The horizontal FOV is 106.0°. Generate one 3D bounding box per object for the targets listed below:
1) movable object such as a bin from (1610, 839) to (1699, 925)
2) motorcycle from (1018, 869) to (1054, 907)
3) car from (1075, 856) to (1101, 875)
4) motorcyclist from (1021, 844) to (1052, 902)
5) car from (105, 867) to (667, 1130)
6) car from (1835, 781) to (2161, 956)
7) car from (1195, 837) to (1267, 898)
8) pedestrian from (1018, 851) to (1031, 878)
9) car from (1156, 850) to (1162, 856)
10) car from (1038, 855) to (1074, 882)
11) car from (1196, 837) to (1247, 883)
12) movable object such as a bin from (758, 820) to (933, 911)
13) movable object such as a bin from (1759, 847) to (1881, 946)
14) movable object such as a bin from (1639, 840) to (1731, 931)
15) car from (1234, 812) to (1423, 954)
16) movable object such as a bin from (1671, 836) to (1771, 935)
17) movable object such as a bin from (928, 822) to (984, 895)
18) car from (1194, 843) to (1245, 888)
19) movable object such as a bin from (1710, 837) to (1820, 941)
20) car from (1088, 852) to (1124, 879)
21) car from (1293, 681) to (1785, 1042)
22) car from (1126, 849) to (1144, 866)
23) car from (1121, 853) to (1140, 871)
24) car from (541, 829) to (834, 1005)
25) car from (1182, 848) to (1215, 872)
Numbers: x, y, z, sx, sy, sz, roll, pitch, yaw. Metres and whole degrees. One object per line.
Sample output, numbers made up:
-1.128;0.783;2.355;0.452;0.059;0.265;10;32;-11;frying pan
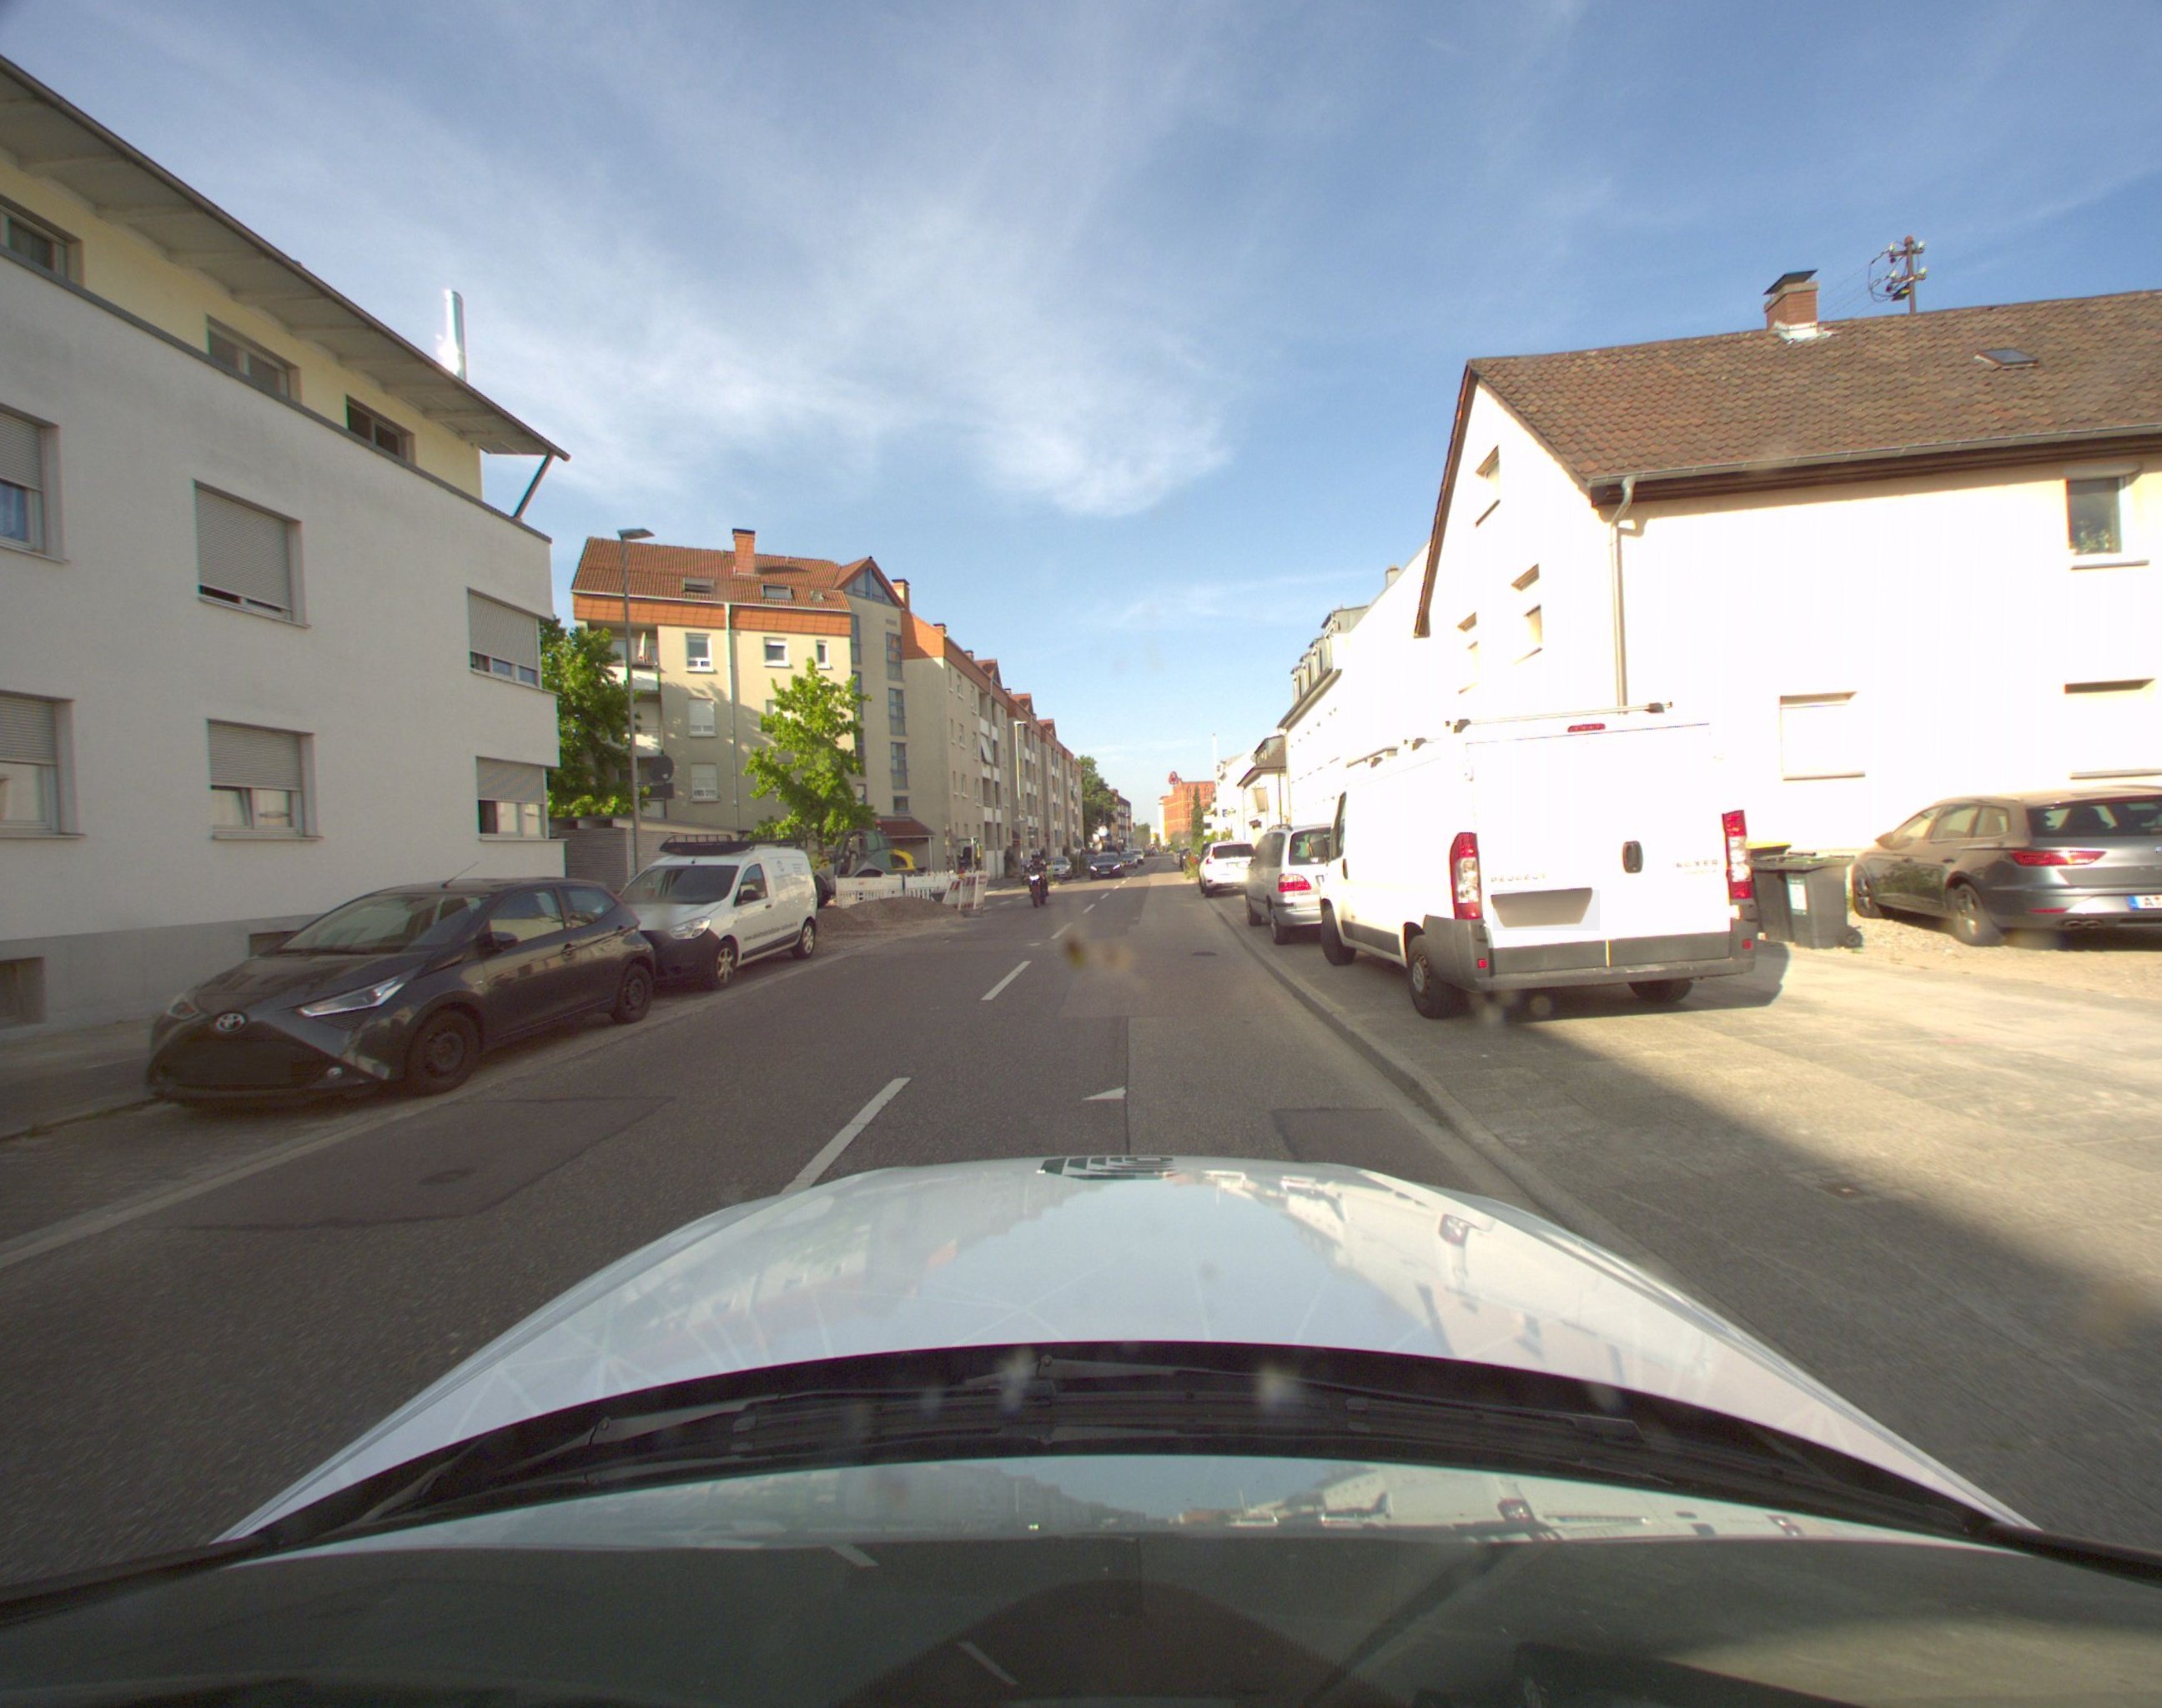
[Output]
7.702;0.368;10.965;0.725;1.093;0.626;-2;0;3;movable object such as a bin
-1.298;0.962;23.855;0.765;0.984;2.201;-2;0;3;motorcycle
0.600;0.915;66.265;1.678;1.405;4.090;-1;0;5;car
-1.292;0.533;23.928;0.765;1.652;0.844;-2;0;3;motorcyclist
-5.094;0.898;6.676;1.487;1.465;3.515;-2;0;1;car
9.566;0.049;8.377;1.640;1.407;4.004;-4;0;28;car
4.705;0.379;26.119;1.803;1.683;4.484;-4;0;6;car
-3.837;0.688;55.169;0.715;1.818;0.746;-2;0;6;pedestrian
23.415;-0.320;243.525;1.755;1.616;4.007;-3;0;6;car
-1.449;0.815;48.180;1.633;1.395;3.676;-3;0;4;car
6.352;0.230;37.239;2.064;1.856;4.621;-4;0;8;car
-7.968;0.343;28.146;5.496;2.900;2.105;-1;1;-10;movable object such as a bin
7.605;0.424;8.400;0.725;0.959;0.554;-2;0;3;movable object such as a bin
7.667;0.390;10.354;0.725;1.093;0.554;-2;0;3;movable object such as a bin
3.650;0.354;12.868;1.770;1.741;4.487;-4;0;3;car
7.618;0.367;9.715;0.725;1.132;0.554;-2;0;3;movable object such as a bin
-5.794;0.182;38.176;1.640;3.138;3.905;-3;0;4;movable object such as a bin
5.344;0.413;31.882;1.581;1.528;4.621;-4;-1;6;car
7.613;0.381;9.086;0.725;1.093;0.554;-2;0;3;movable object such as a bin
1.518;0.655;48.001;1.821;1.420;4.215;-3;0;5;car
3.756;0.034;8.046;2.165;2.327;5.002;-4;0;3;car
6.217;0.388;94.247;1.913;1.767;4.344;-3;0;5;car
4.506;0.689;73.598;1.610;1.455;3.690;-3;0;5;car
-5.142;0.698;11.454;1.720;1.960;4.442;-1;0;3;car
7.448;0.374;52.022;1.771;1.420;4.502;-2;0;5;car
